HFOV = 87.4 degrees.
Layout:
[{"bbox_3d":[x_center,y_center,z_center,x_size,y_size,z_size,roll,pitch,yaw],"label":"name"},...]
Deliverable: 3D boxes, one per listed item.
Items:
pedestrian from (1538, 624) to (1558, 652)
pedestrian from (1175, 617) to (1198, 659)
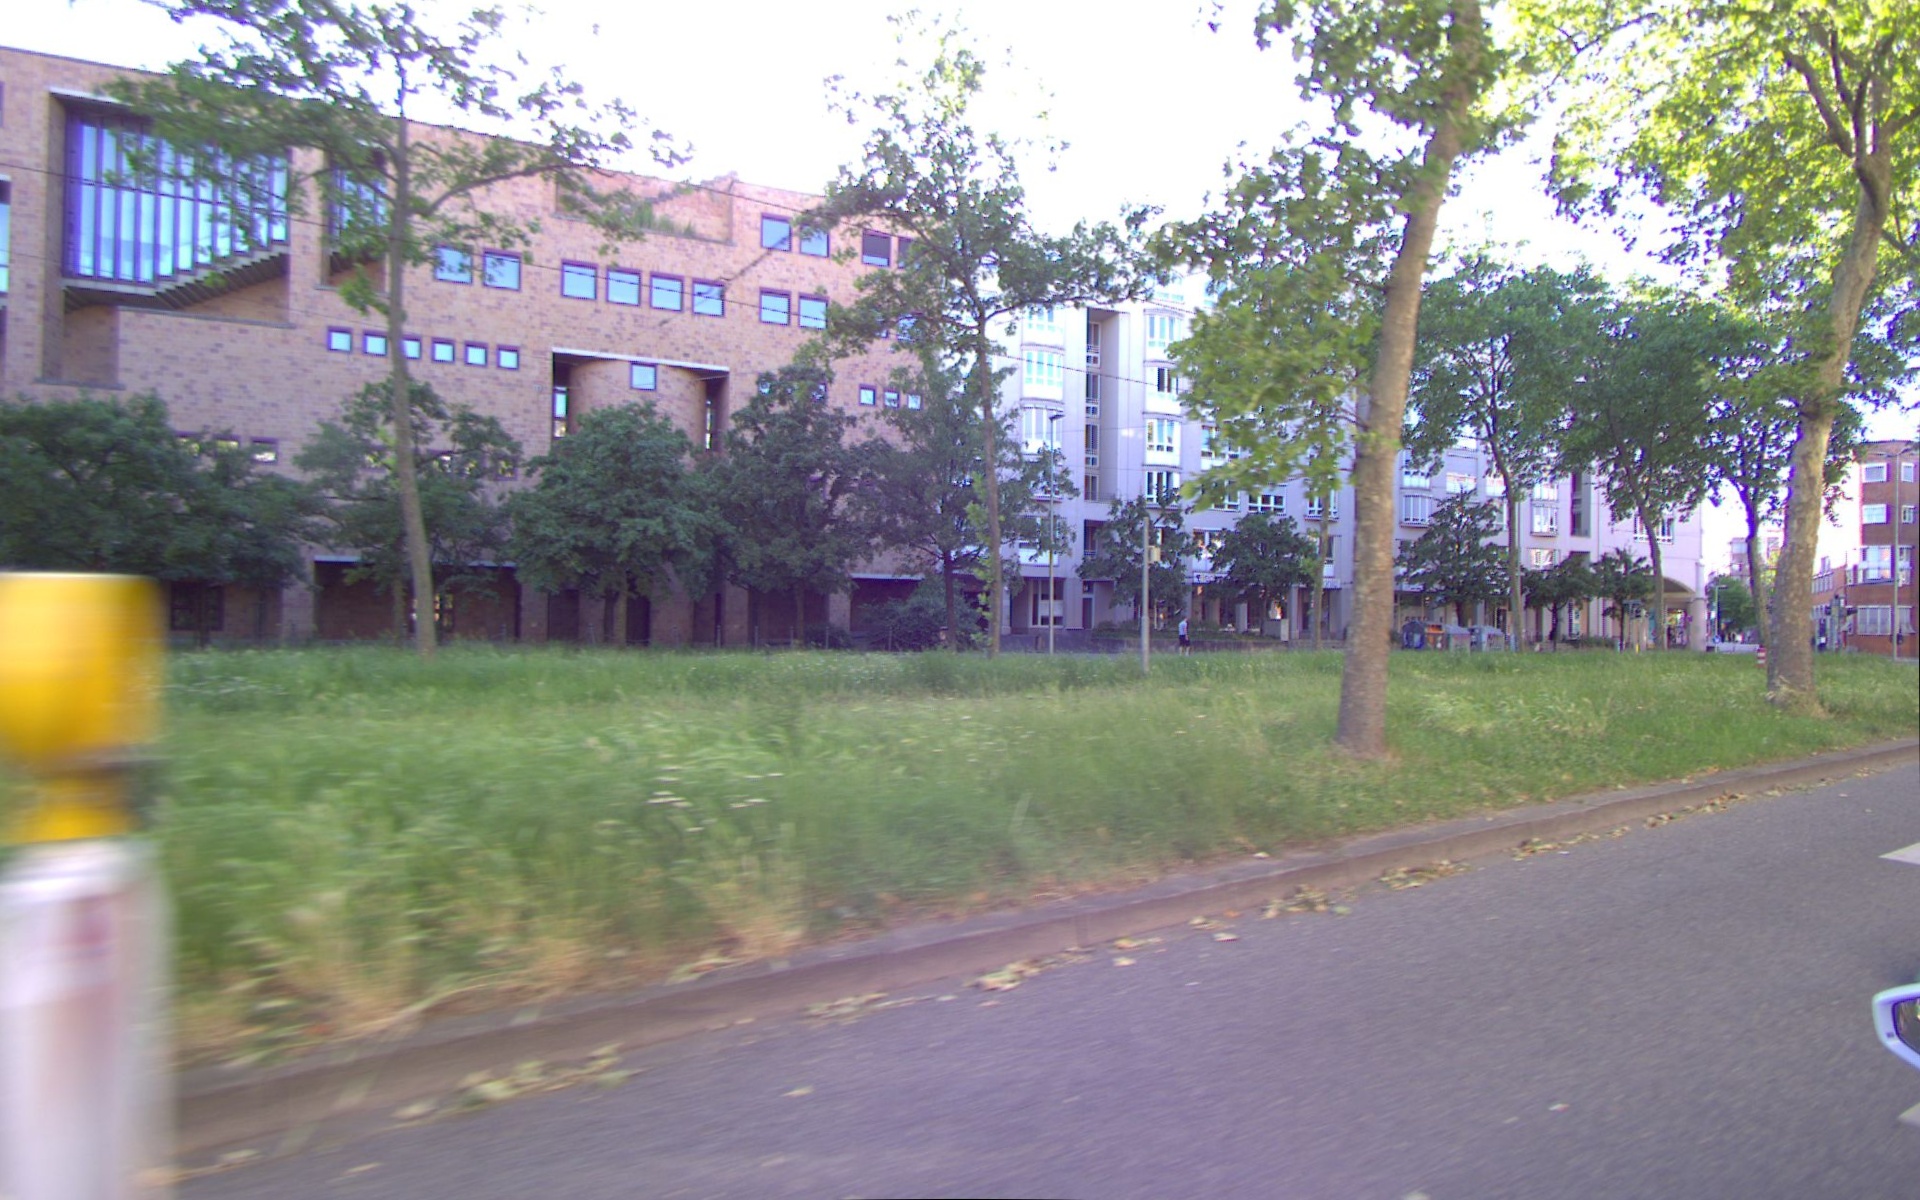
[{"bbox_3d":[35.439,2.303,60.499,0.777,1.660,0.705,1,-1,-22],"label":"pedestrian"},{"bbox_3d":[9.623,1.624,42.697,0.640,1.763,0.725,1,-1,-29],"label":"pedestrian"}]
